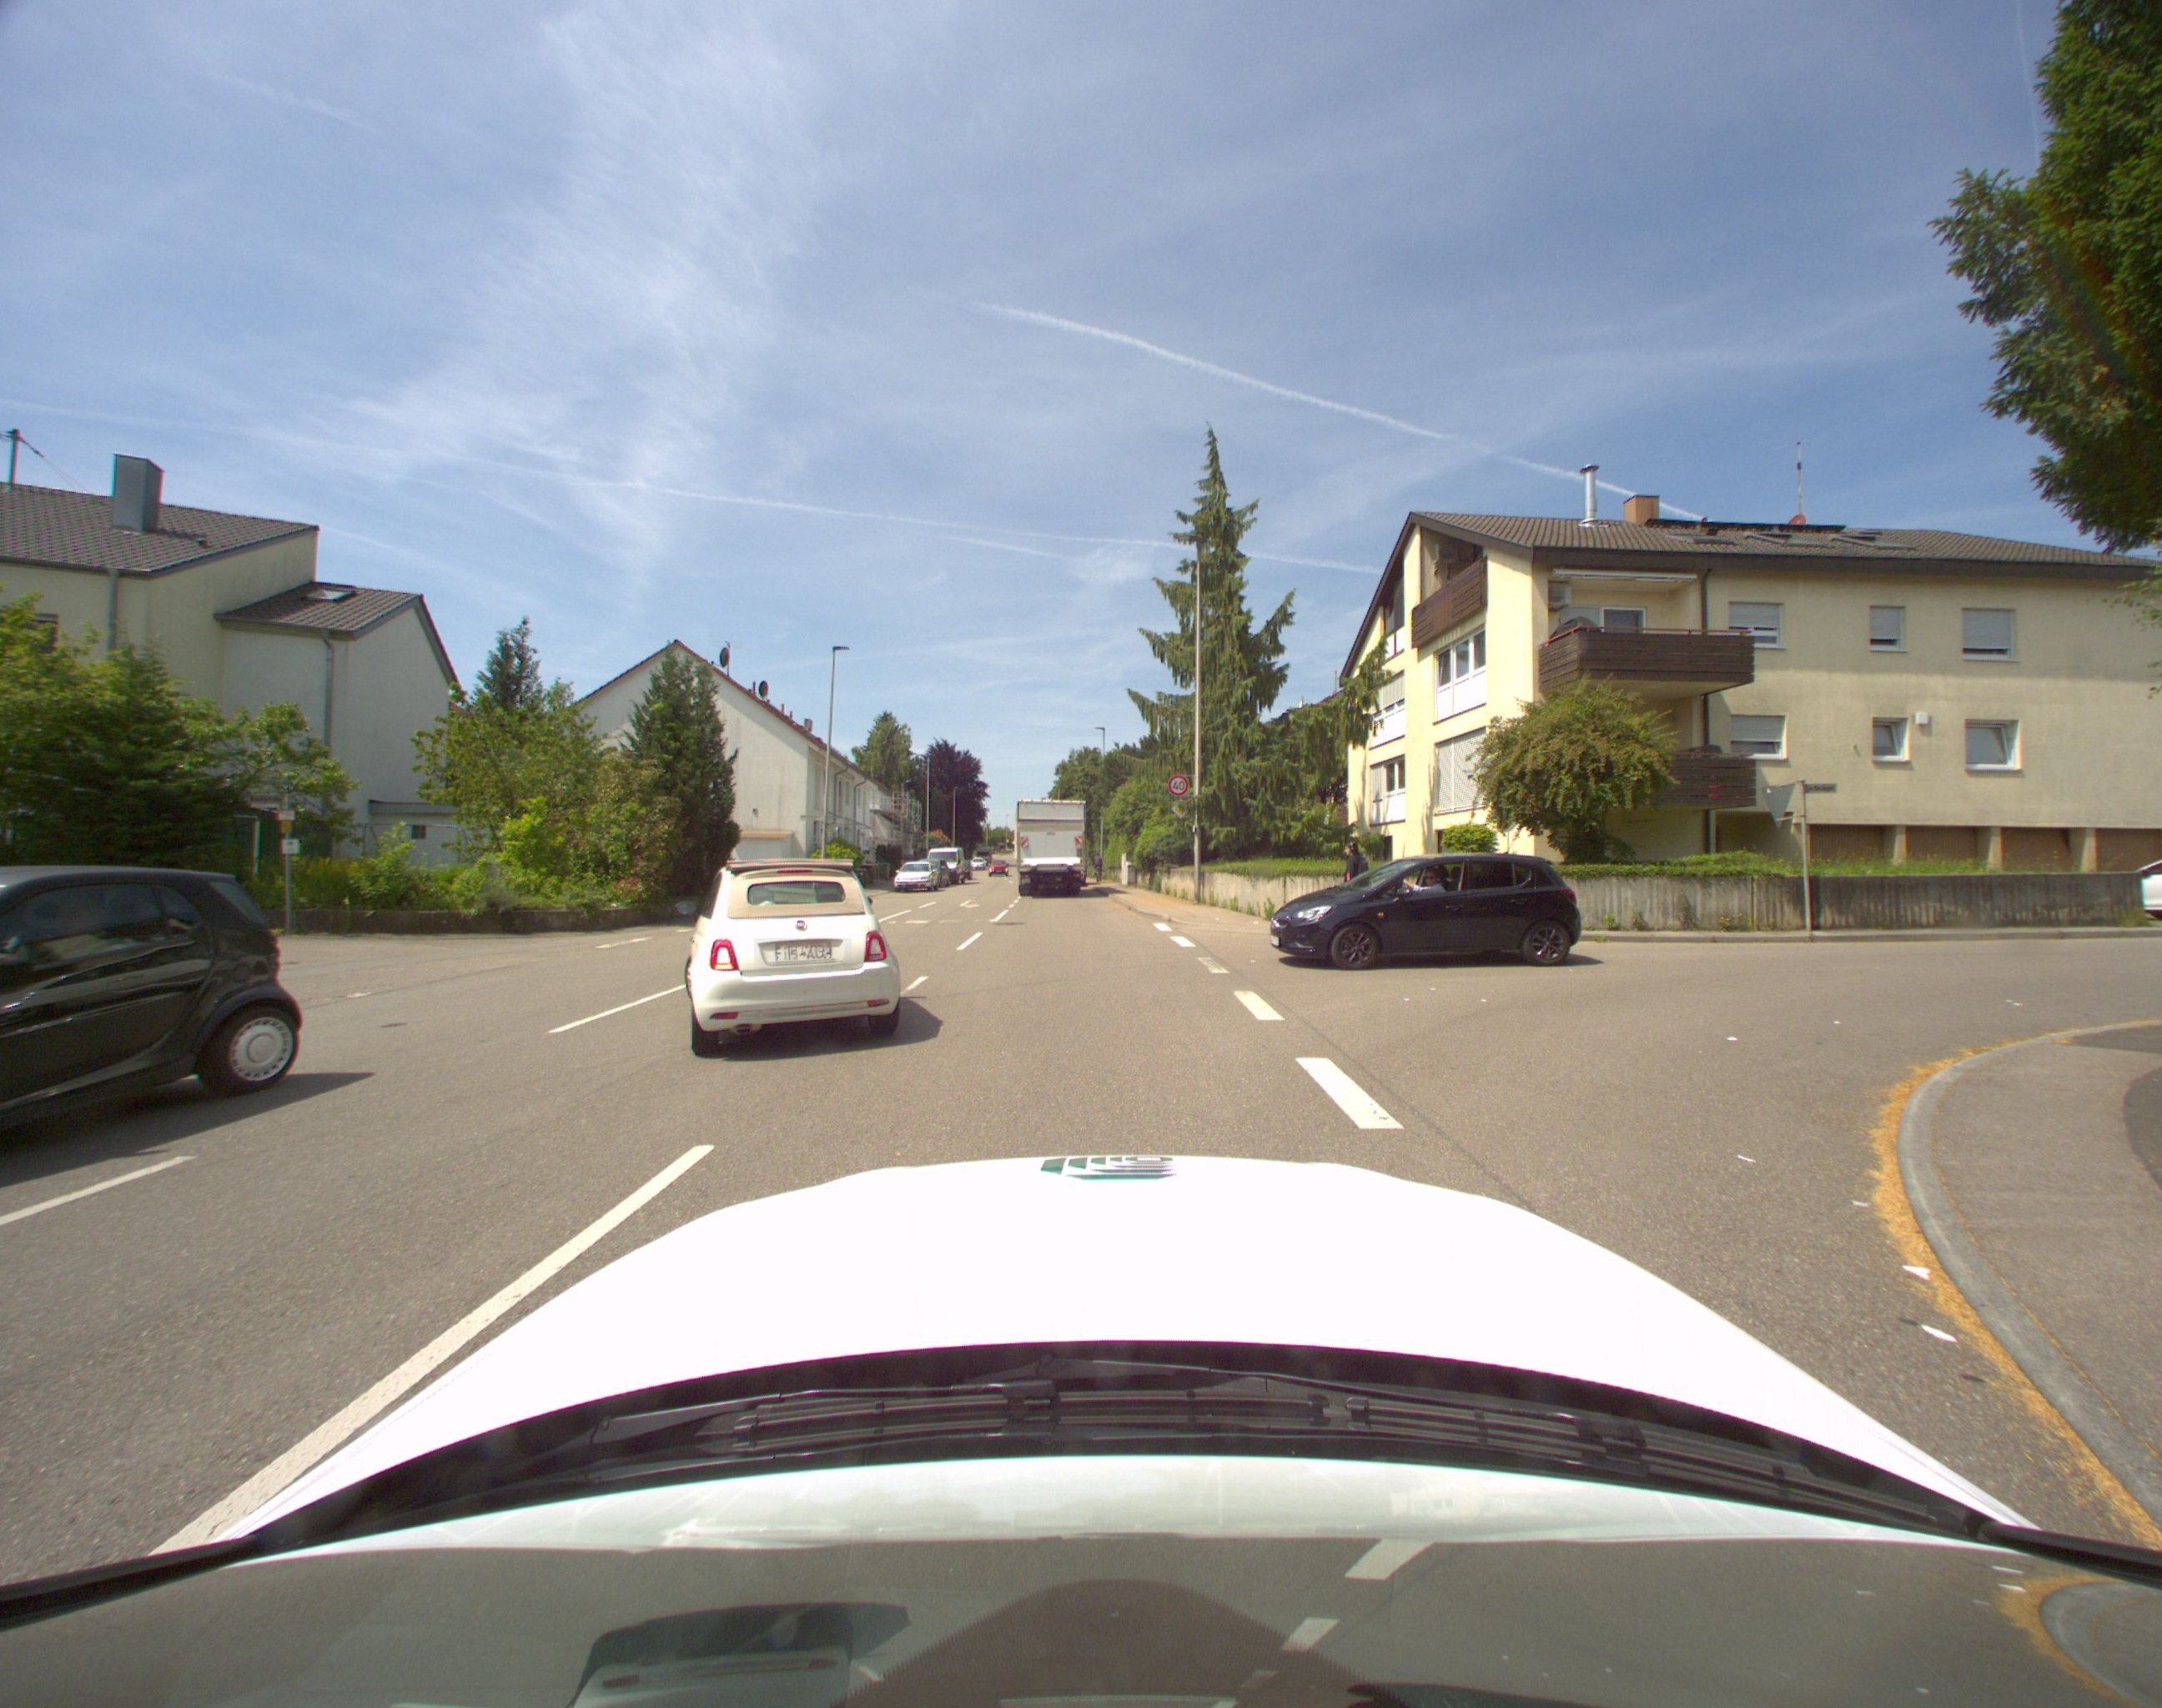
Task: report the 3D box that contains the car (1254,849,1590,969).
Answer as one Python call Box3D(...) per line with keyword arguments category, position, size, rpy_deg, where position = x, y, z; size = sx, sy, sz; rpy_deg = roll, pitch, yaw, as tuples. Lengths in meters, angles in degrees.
Box3D(category="car", position=(4.510, 0.701, 11.183), size=(3.920, 1.458, 1.658), rpy_deg=(-1, 0, 0))

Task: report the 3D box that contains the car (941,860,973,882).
Box3D(category="car", position=(-9.387, 1.280, 61.908), size=(2.034, 1.594, 4.748), rpy_deg=(-1, 0, -5))

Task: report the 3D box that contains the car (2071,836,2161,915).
Box3D(category="car", position=(23.672, 0.485, 16.624), size=(1.990, 1.662, 3.994), rpy_deg=(2, 0, -4))

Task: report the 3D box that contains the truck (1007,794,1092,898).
Box3D(category="truck", position=(-1.444, -0.262, 33.795), size=(3.063, 3.774, 7.855), rpy_deg=(-1, 0, -4))

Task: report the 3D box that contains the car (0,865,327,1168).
Box3D(category="car", position=(-6.241, 0.852, 4.553), size=(1.477, 1.510, 2.798), rpy_deg=(-1, 0, -3))

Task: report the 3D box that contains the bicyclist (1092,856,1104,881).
Box3D(category="bicyclist", position=(0.967, 0.806, 46.383), size=(0.587, 1.412, 0.741), rpy_deg=(1, 0, -3))

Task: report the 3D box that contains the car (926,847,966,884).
Box3D(category="car", position=(-8.474, 0.709, 51.431), size=(2.034, 2.200, 5.572), rpy_deg=(-1, 0, -5))

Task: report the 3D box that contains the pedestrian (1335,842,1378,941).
Box3D(category="pedestrian", position=(4.791, 0.626, 14.143), size=(0.690, 1.671, 0.572), rpy_deg=(0, 0, 20))

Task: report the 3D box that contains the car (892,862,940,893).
Box3D(category="car", position=(-7.916, 1.094, 39.421), size=(1.802, 1.398, 3.993), rpy_deg=(-1, 0, -5))

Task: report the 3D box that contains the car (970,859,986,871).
Box3D(category="car", position=(-12.945, 1.431, 102.745), size=(1.472, 1.494, 3.081), rpy_deg=(-1, -1, 2))

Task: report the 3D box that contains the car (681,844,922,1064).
Box3D(category="car", position=(-2.956, 0.761, 8.011), size=(1.734, 1.560, 3.965), rpy_deg=(-1, -1, -26))

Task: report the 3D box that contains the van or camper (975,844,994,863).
Box3D(category="van or camper", position=(-14.860, -0.068, 126.035), size=(2.258, 2.962, 5.885), rpy_deg=(1, 0, -1))

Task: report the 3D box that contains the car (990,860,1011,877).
Box3D(category="car", position=(-7.504, 1.339, 75.997), size=(1.829, 1.534, 3.994), rpy_deg=(1, -1, -4))

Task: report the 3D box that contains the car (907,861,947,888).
Box3D(category="car", position=(-8.484, 1.119, 45.167), size=(1.802, 1.398, 3.961), rpy_deg=(-1, 0, -5))

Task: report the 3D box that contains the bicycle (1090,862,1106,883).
Box3D(category="bicycle", position=(0.959, 1.043, 46.411), size=(0.666, 1.104, 2.422), rpy_deg=(0, 0, -3))
